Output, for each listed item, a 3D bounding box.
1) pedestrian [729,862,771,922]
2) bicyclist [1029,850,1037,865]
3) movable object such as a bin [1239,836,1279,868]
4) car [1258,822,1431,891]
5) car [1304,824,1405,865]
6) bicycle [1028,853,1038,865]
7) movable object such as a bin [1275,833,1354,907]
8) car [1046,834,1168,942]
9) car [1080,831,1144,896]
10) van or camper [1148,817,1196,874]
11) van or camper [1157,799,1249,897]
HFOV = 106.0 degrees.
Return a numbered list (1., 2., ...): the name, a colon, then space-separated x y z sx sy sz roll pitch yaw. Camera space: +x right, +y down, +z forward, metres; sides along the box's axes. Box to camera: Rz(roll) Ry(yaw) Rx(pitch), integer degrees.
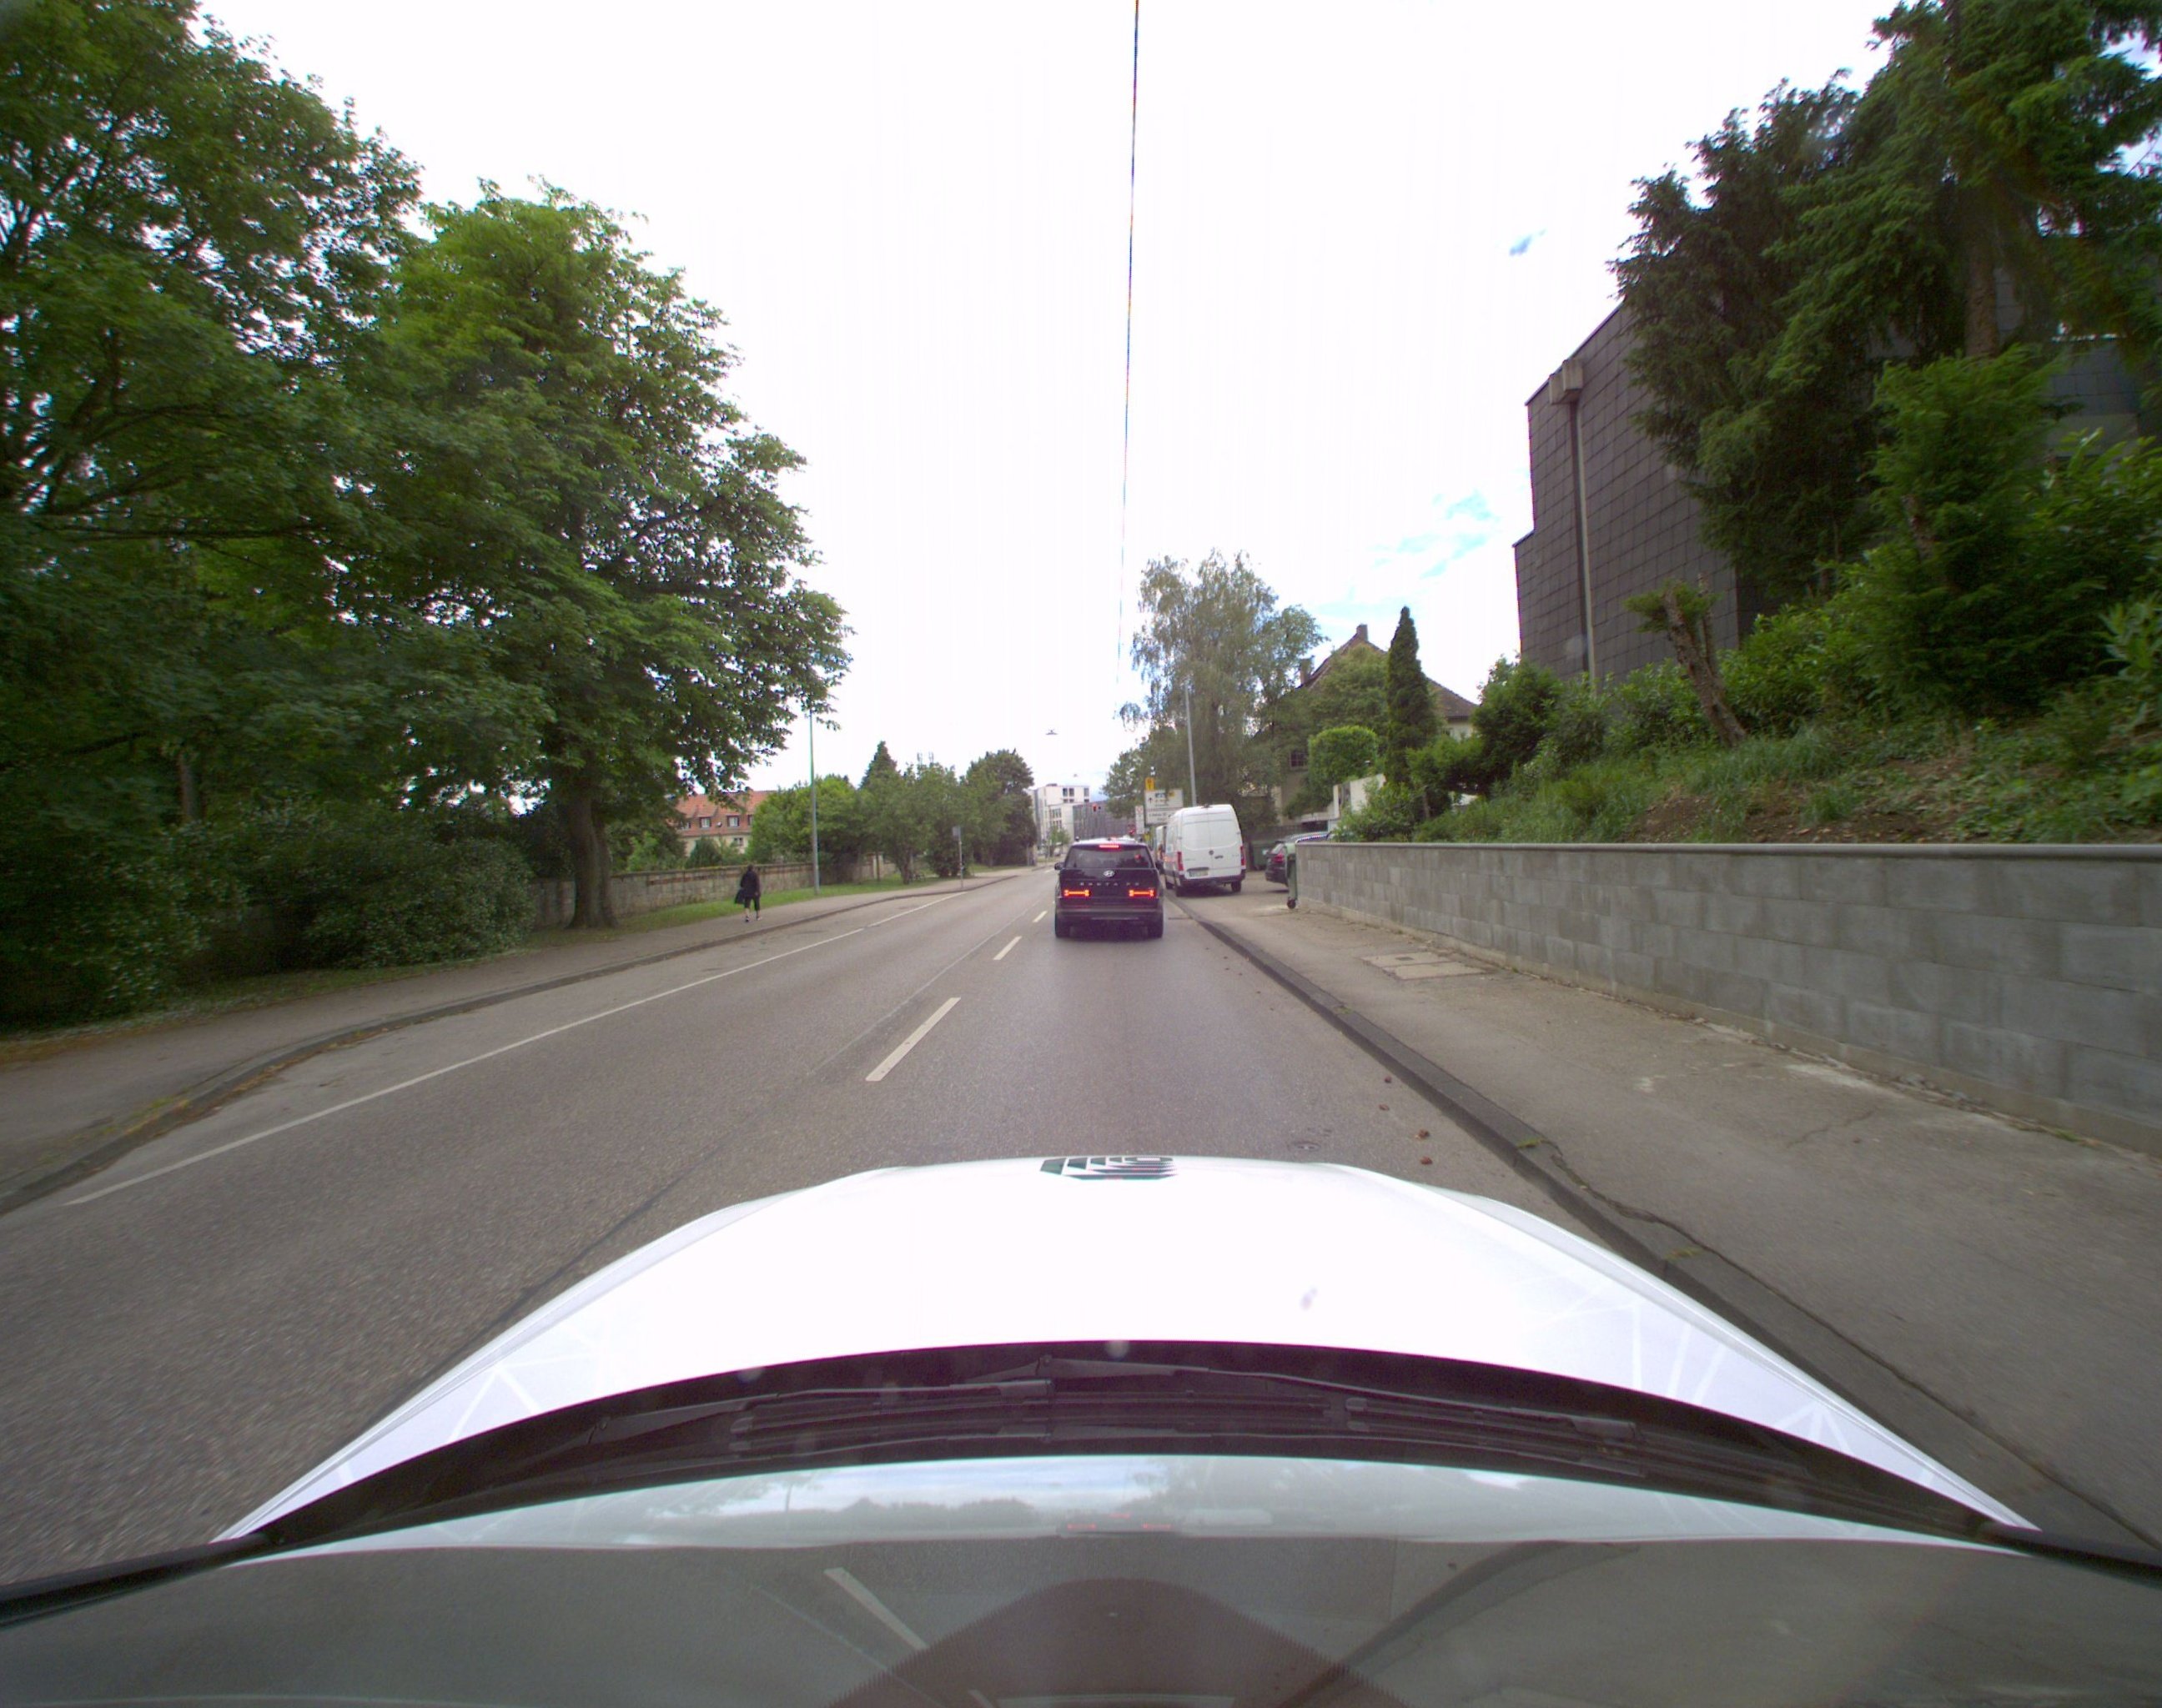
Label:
1. pedestrian: -9.105 1.026 22.444 0.747 1.578 0.965 -2 0 -4
2. bicyclist: -5.218 0.396 88.598 0.676 1.659 0.855 -1 -2 -12
3. movable object such as a bin: 8.581 -0.088 39.302 1.447 1.473 1.715 -2 0 -4
4. car: 7.513 0.058 23.538 4.376 1.652 1.831 -4 0 3
5. car: 12.462 -0.417 37.291 3.975 1.711 1.969 -2 0 -1
6. bicycle: -5.218 0.541 88.565 0.675 1.279 2.490 -1 -1 -12
7. movable object such as a bin: 4.990 0.334 17.471 1.295 1.450 1.181 -4 0 2
8. car: 0.485 0.538 15.345 1.956 1.711 4.002 -2 0 2
9. car: 1.028 0.292 27.742 1.957 2.001 4.001 -2 0 1
10. van or camper: 4.975 -0.459 45.187 1.957 2.797 5.288 -5 0 1
11. van or camper: 3.767 -0.190 26.375 1.957 2.627 6.360 -5 0 1
